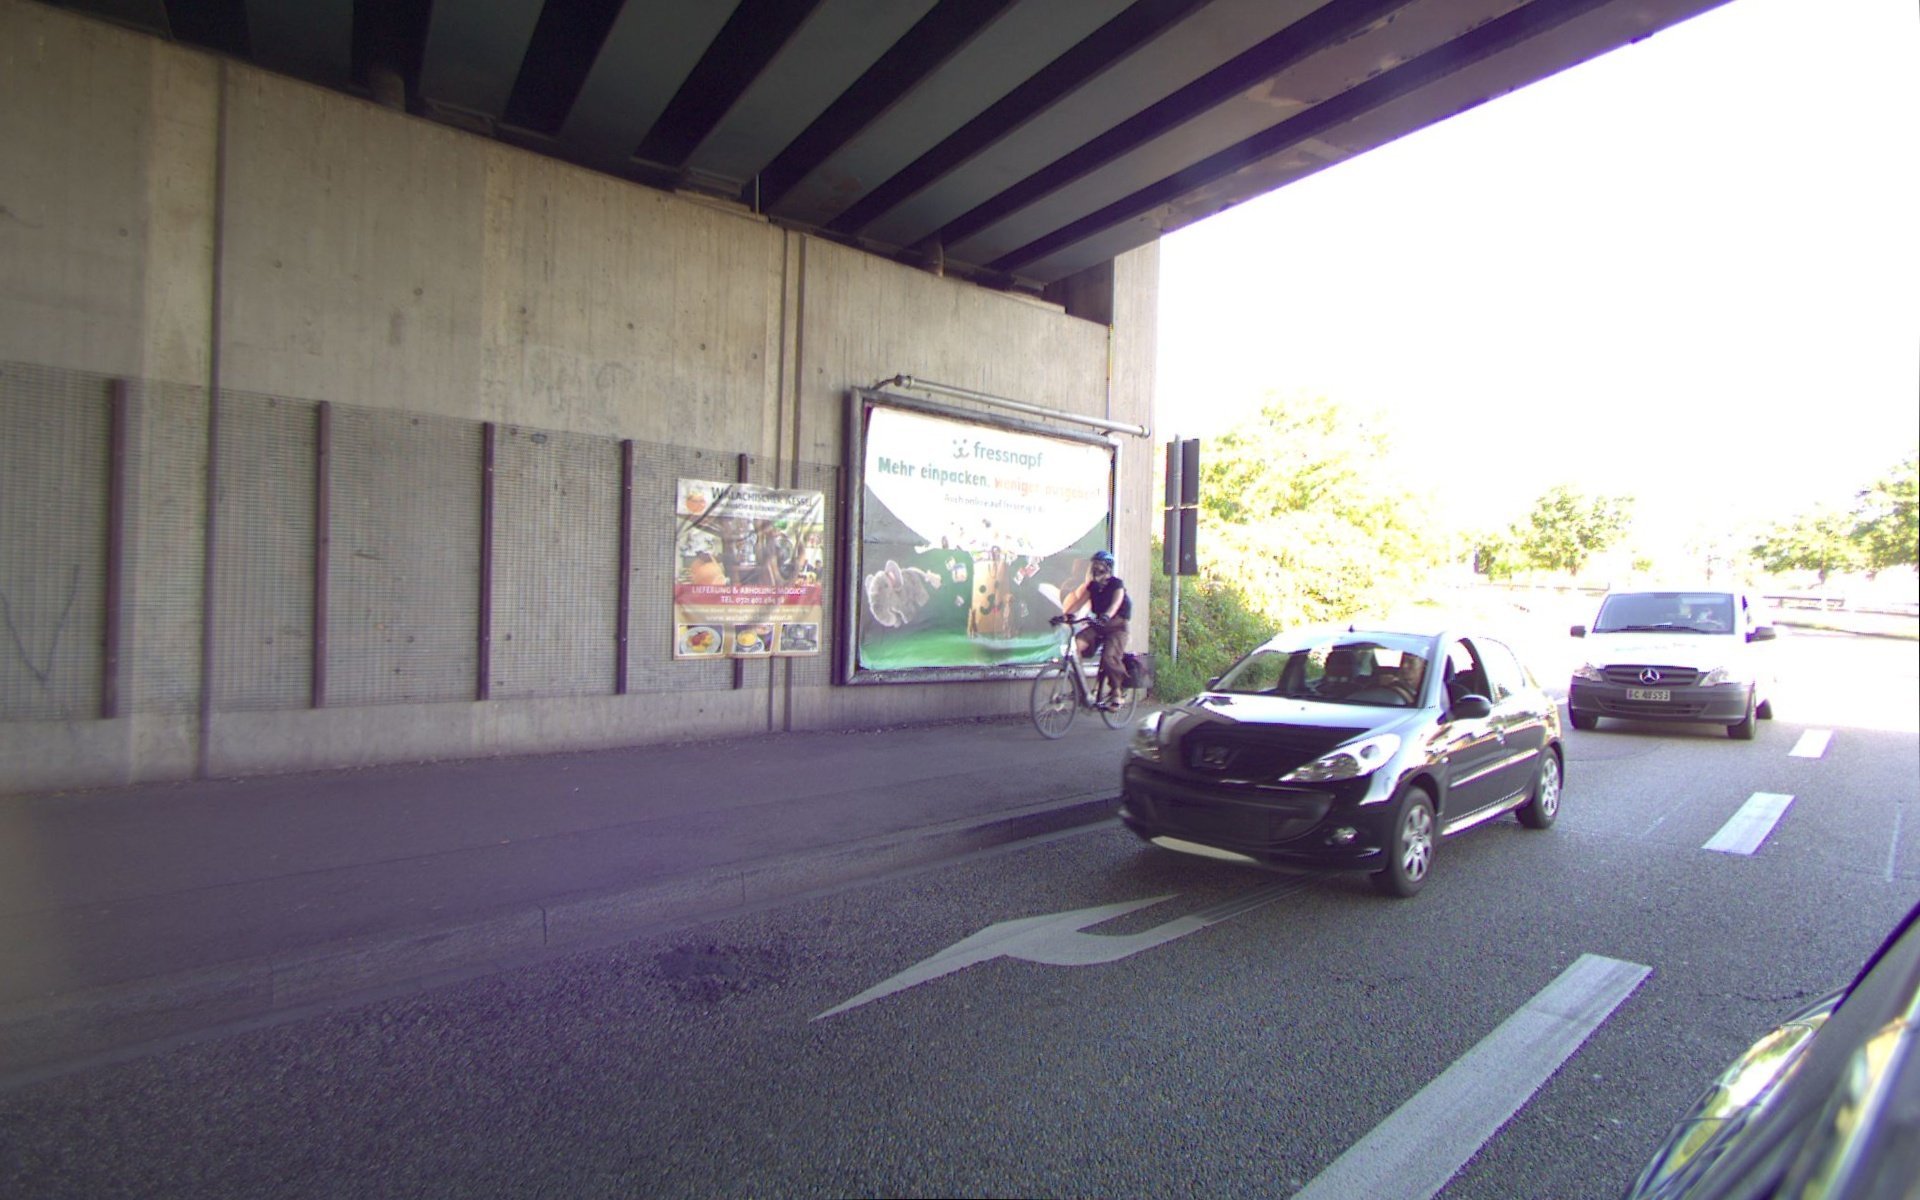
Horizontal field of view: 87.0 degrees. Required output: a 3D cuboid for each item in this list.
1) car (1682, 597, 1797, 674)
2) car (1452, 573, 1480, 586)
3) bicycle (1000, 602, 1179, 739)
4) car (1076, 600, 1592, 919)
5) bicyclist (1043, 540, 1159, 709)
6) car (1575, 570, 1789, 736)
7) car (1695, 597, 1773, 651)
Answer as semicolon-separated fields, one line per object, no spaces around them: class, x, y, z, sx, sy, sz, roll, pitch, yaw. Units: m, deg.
car;18.303;0.747;23.748;1.990;1.570;4.359;1;1;39
car;66.509;-2.657;133.158;1.774;1.626;4.291;1;1;4
bicycle;1.278;0.647;9.797;1.746;1.181;0.652;2;2;-40
car;2.606;0.745;6.623;3.654;1.474;1.747;0;0;-43
bicyclist;1.372;0.222;9.857;0.832;1.552;0.654;2;2;-40
car;9.950;0.592;13.772;1.896;1.859;4.762;0;0;42
car;24.998;0.732;32.796;1.768;1.621;4.054;0;0;35
